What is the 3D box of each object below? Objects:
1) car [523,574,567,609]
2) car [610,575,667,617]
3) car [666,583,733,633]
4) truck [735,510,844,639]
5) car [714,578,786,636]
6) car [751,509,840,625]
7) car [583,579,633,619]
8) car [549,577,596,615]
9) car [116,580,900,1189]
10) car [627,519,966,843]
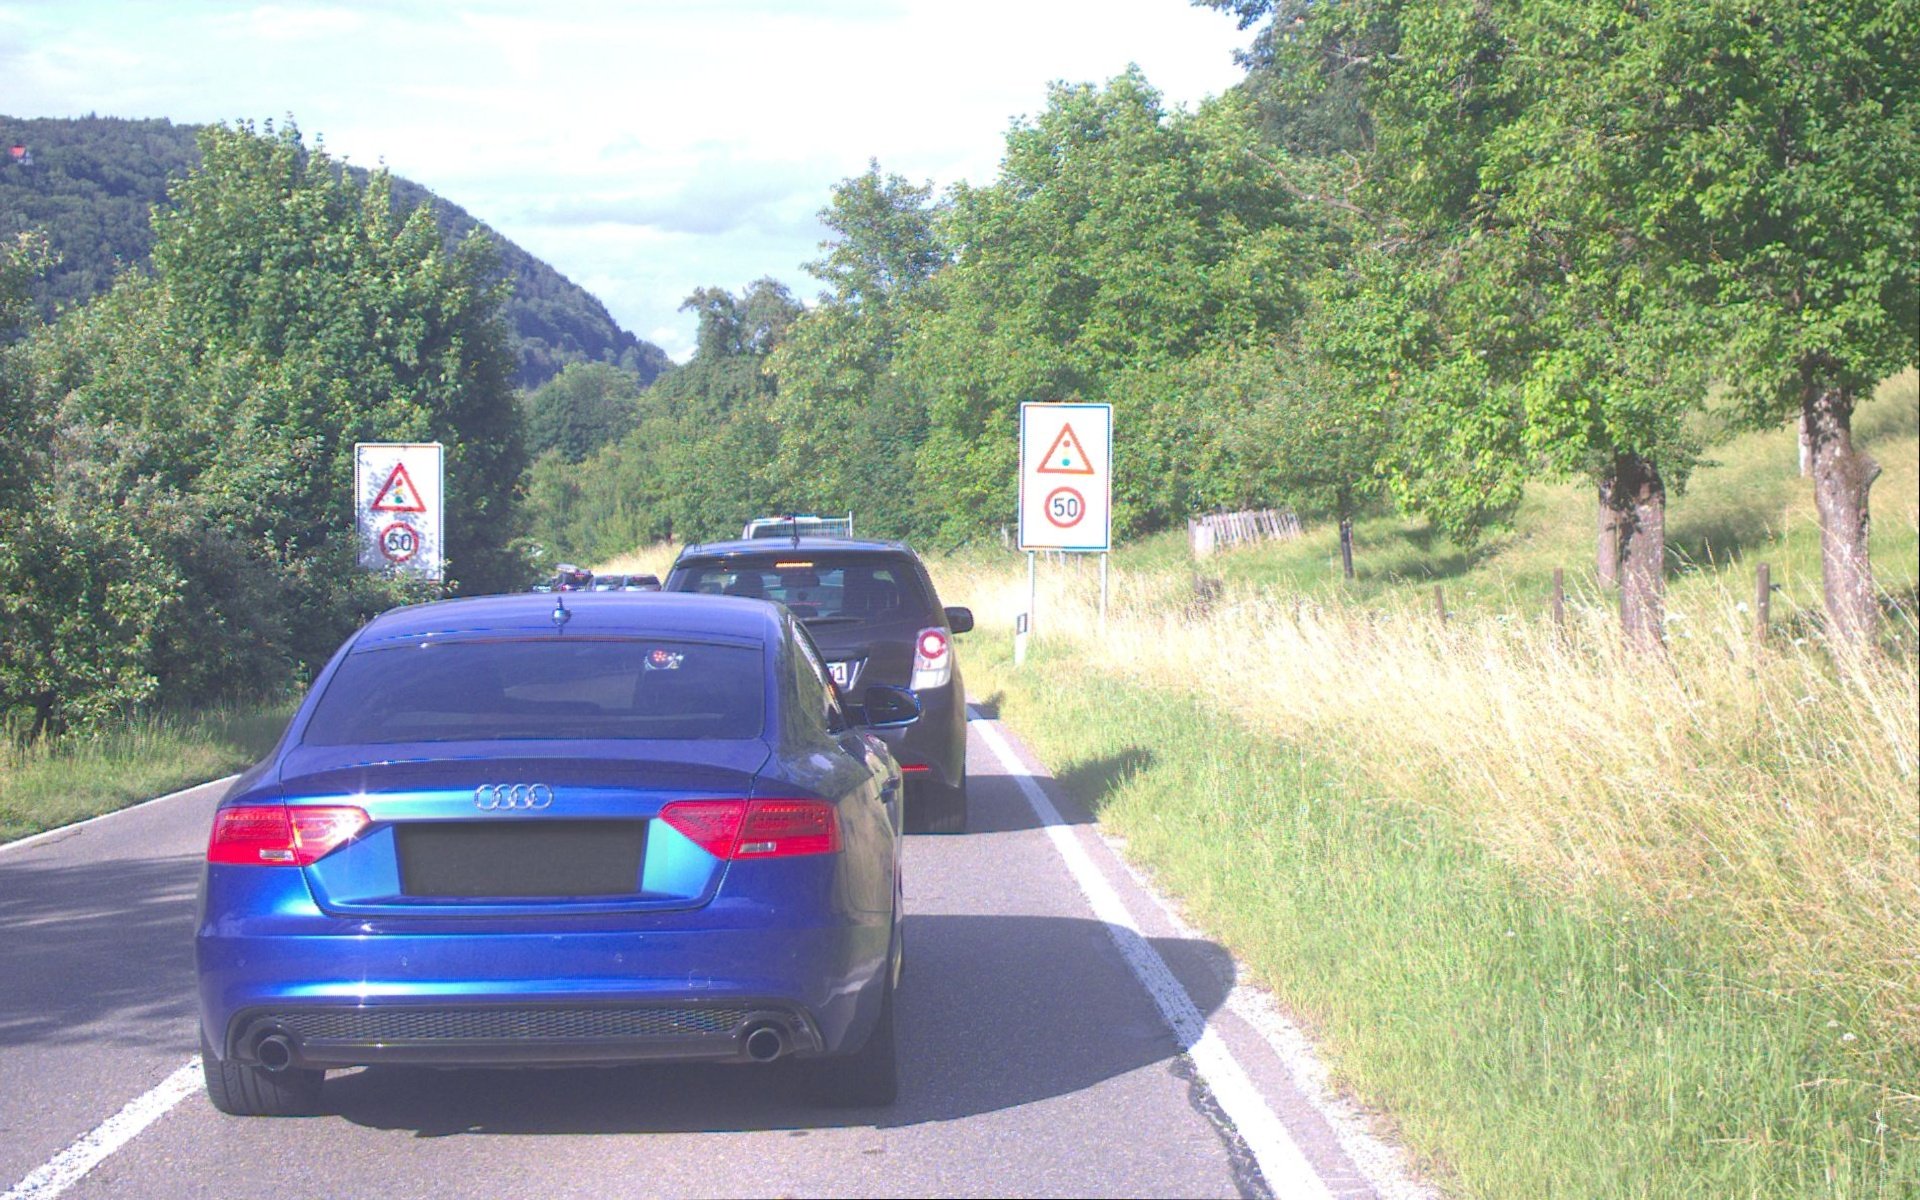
[{"bbox_3d":[-19.167,-0.384,158.661,1.558,1.490,3.779,2,1,-14],"label":"car"},{"bbox_3d":[-12.506,-0.162,133.609,1.747,1.490,3.779,2,1,-12],"label":"car"},{"bbox_3d":[-8.501,0.252,111.944,1.747,1.490,3.779,2,1,-10],"label":"car"},{"bbox_3d":[-3.286,-0.522,66.912,1.950,2.337,5.094,2,1,-2],"label":"truck"},{"bbox_3d":[-5.967,0.185,97.410,1.747,1.490,3.779,2,1,-7],"label":"car"},{"bbox_3d":[-3.681,-0.746,76.518,1.792,2.445,3.920,2,1,-4],"label":"car"},{"bbox_3d":[-14.584,-0.053,142.314,1.558,1.490,3.779,2,1,-13],"label":"car"},{"bbox_3d":[-16.986,-0.180,150.675,1.558,1.490,3.779,2,1,-14],"label":"car"},{"bbox_3d":[-1.090,0.651,10.136,1.805,1.377,4.215,-1,1,-1],"label":"car"},{"bbox_3d":[-0.881,0.377,19.348,1.692,1.618,3.789,1,1,-2],"label":"car"}]
